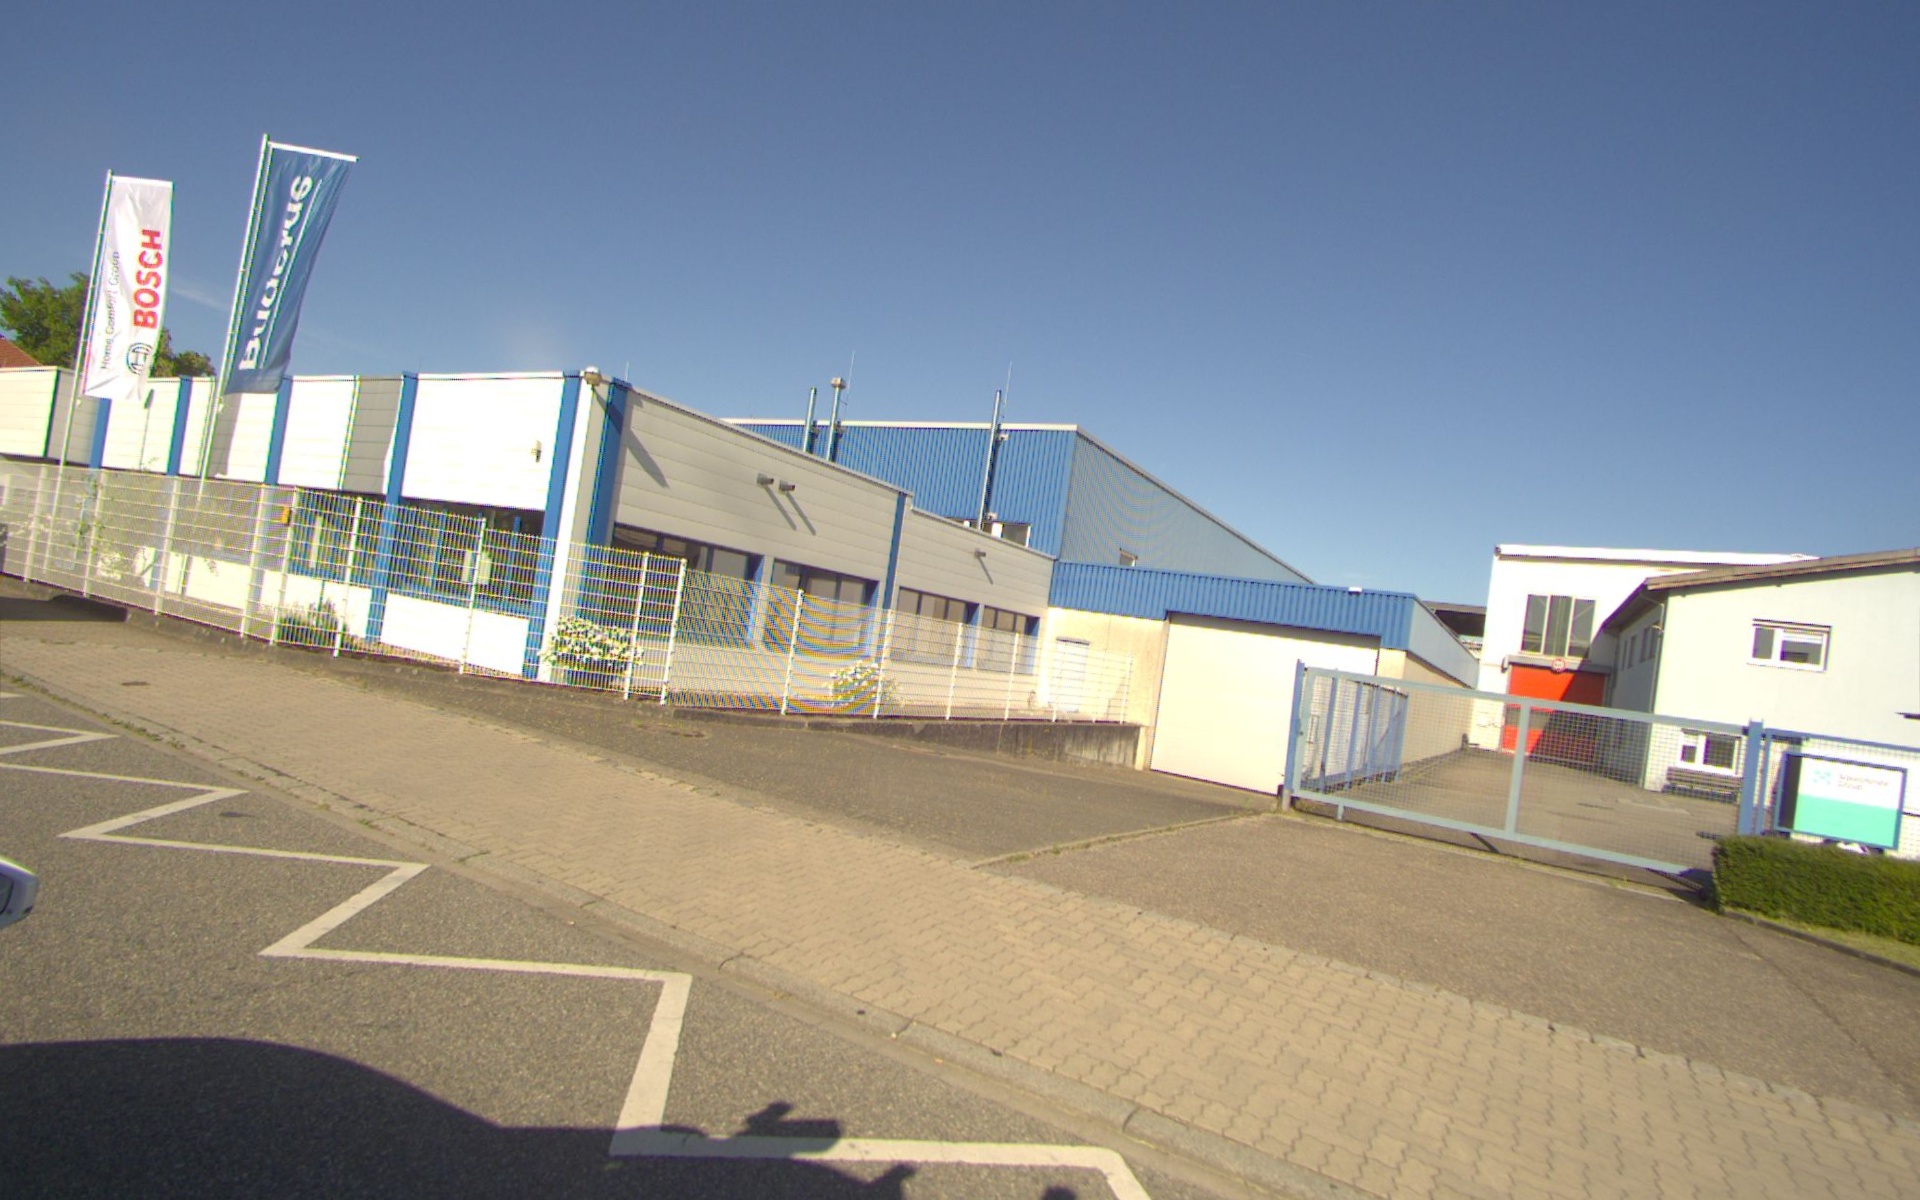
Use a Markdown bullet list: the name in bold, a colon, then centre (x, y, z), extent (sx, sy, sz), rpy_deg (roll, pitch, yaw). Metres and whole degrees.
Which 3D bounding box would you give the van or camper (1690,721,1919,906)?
- **van or camper**: centre (15.779, 3.666, 16.013), extent (6.410, 2.407, 2.105), rpy_deg (6, -4, 34)
